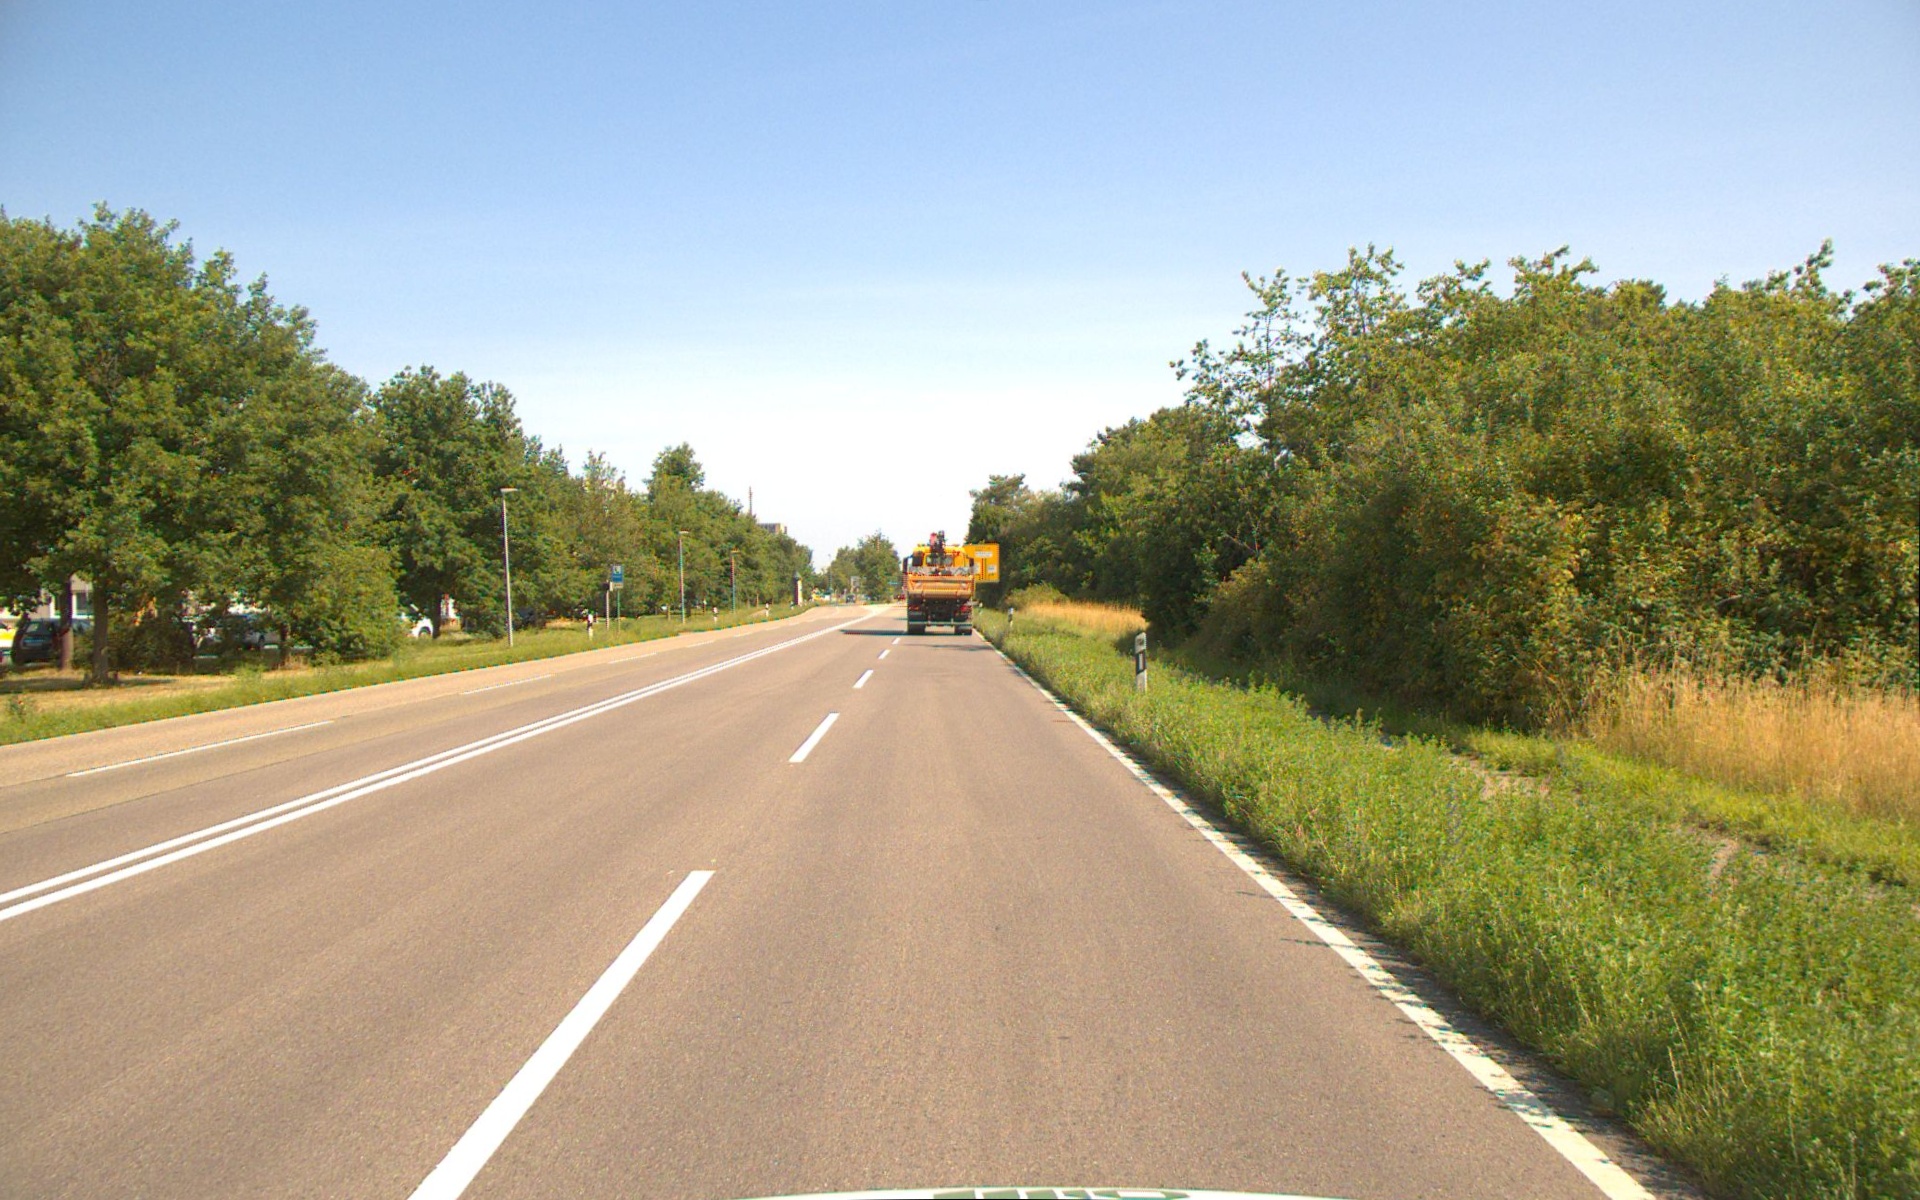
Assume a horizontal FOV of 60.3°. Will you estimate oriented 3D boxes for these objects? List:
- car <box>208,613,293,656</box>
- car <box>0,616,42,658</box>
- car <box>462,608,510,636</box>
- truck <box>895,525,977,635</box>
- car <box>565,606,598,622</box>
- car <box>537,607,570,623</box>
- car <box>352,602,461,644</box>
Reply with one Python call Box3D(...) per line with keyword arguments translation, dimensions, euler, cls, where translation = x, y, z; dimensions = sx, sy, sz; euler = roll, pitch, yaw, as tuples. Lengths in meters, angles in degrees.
Box3D(translation=(-29.909, 1.433, 69.874), dimensions=(1.890, 1.680, 4.190), euler=(-1, 0, -2), cls="car")
Box3D(translation=(-40.153, 1.538, 68.617), dimensions=(1.818, 1.687, 4.168), euler=(-1, 0, -1), cls="car")
Box3D(translation=(-29.436, 1.357, 102.839), dimensions=(1.708, 1.606, 4.547), euler=(-1, 0, -1), cls="car")
Box3D(translation=(-1.015, -0.736, 63.575), dimensions=(2.815, 3.948, 7.395), euler=(1, 0, -3), cls="truck")
Box3D(translation=(-36.845, 1.386, 161.051), dimensions=(1.952, 1.462, 4.955), euler=(-1, 0, 0), cls="car")
Box3D(translation=(-39.385, 1.455, 160.394), dimensions=(1.952, 1.462, 4.955), euler=(-1, 0, 0), cls="car")
Box3D(translation=(-27.098, 1.106, 81.106), dimensions=(2.028, 1.963, 5.007), euler=(-1, 0, 29), cls="car")
